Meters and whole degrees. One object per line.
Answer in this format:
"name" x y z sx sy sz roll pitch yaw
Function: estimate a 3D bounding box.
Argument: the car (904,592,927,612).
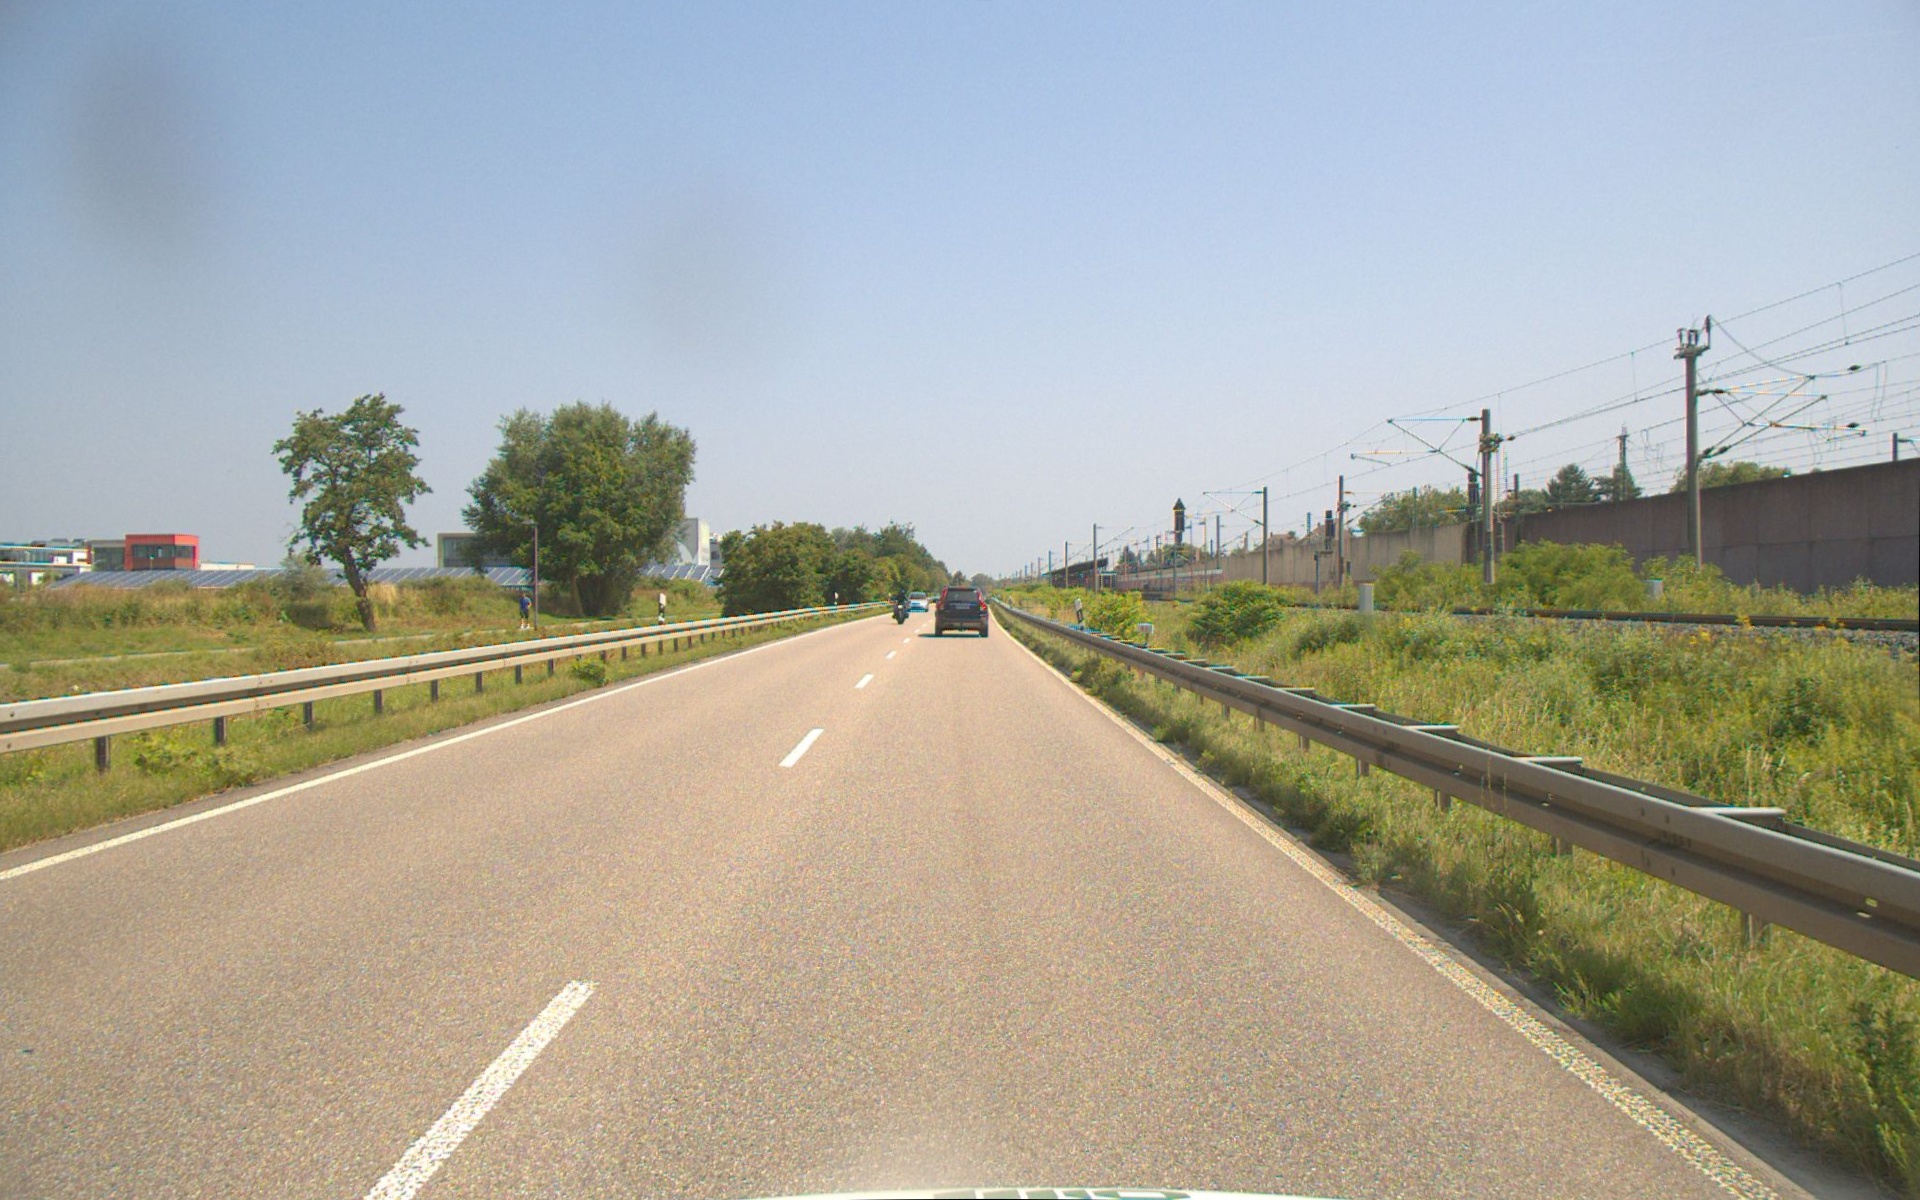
"car" -3.444 0.158 129.472 1.663 1.500 4.686 1 0 0

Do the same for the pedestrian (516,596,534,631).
"pedestrian" -21.917 0.675 83.290 0.566 1.780 0.821 -2 0 5

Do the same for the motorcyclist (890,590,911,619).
"motorcyclist" -2.843 0.209 79.198 0.973 1.332 0.935 1 0 0

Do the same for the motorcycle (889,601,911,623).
"motorcycle" -2.867 0.570 79.247 0.909 1.046 2.268 1 0 0

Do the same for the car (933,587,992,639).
"car" 0.045 0.438 58.030 1.953 1.730 3.999 0 0 -2
